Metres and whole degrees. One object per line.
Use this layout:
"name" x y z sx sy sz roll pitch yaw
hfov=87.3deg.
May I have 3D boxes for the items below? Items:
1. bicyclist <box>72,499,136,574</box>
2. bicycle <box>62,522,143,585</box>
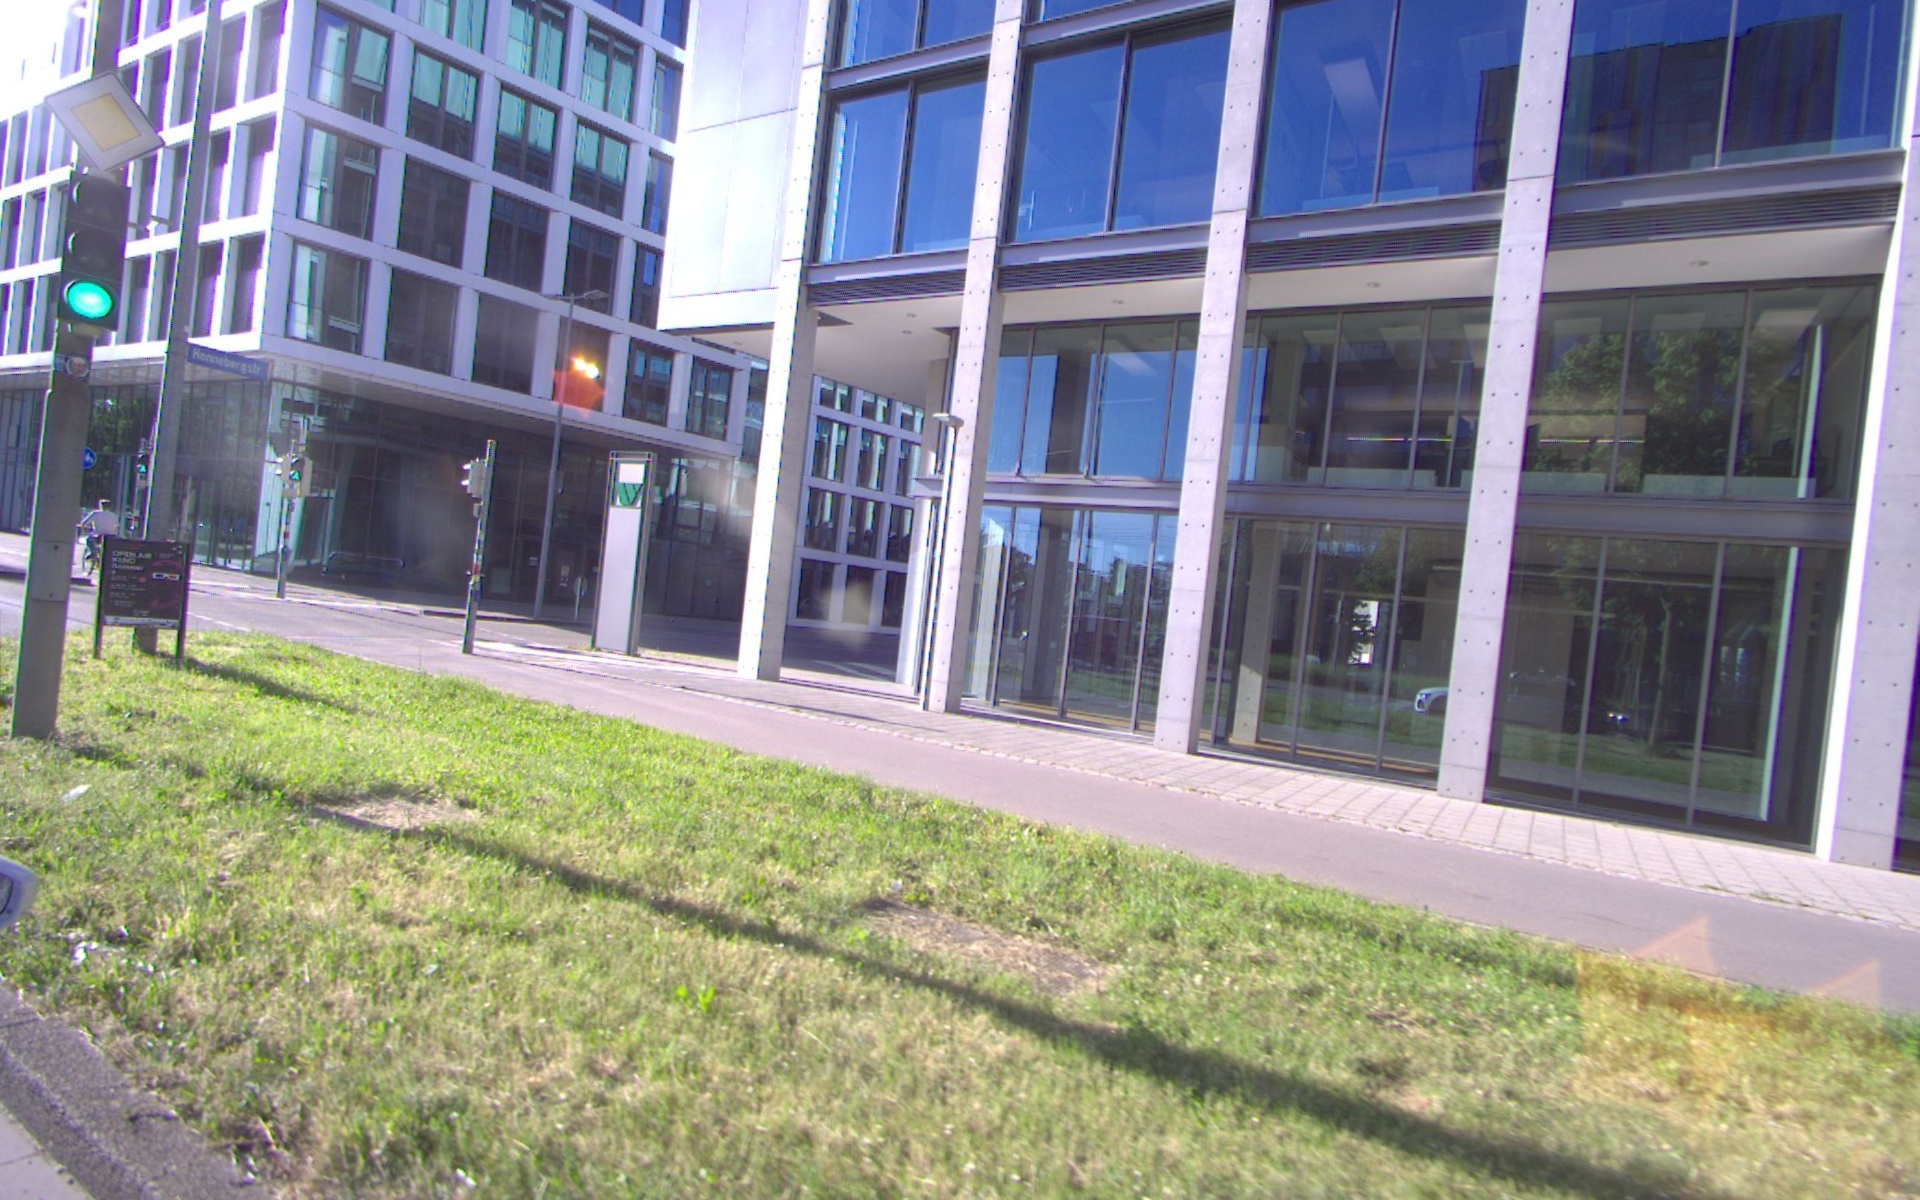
"bicyclist" -19.090 -1.413 22.427 0.835 1.550 0.772 7 1 32
"bicycle" -19.093 -1.045 22.390 1.929 1.188 0.742 6 0 32
